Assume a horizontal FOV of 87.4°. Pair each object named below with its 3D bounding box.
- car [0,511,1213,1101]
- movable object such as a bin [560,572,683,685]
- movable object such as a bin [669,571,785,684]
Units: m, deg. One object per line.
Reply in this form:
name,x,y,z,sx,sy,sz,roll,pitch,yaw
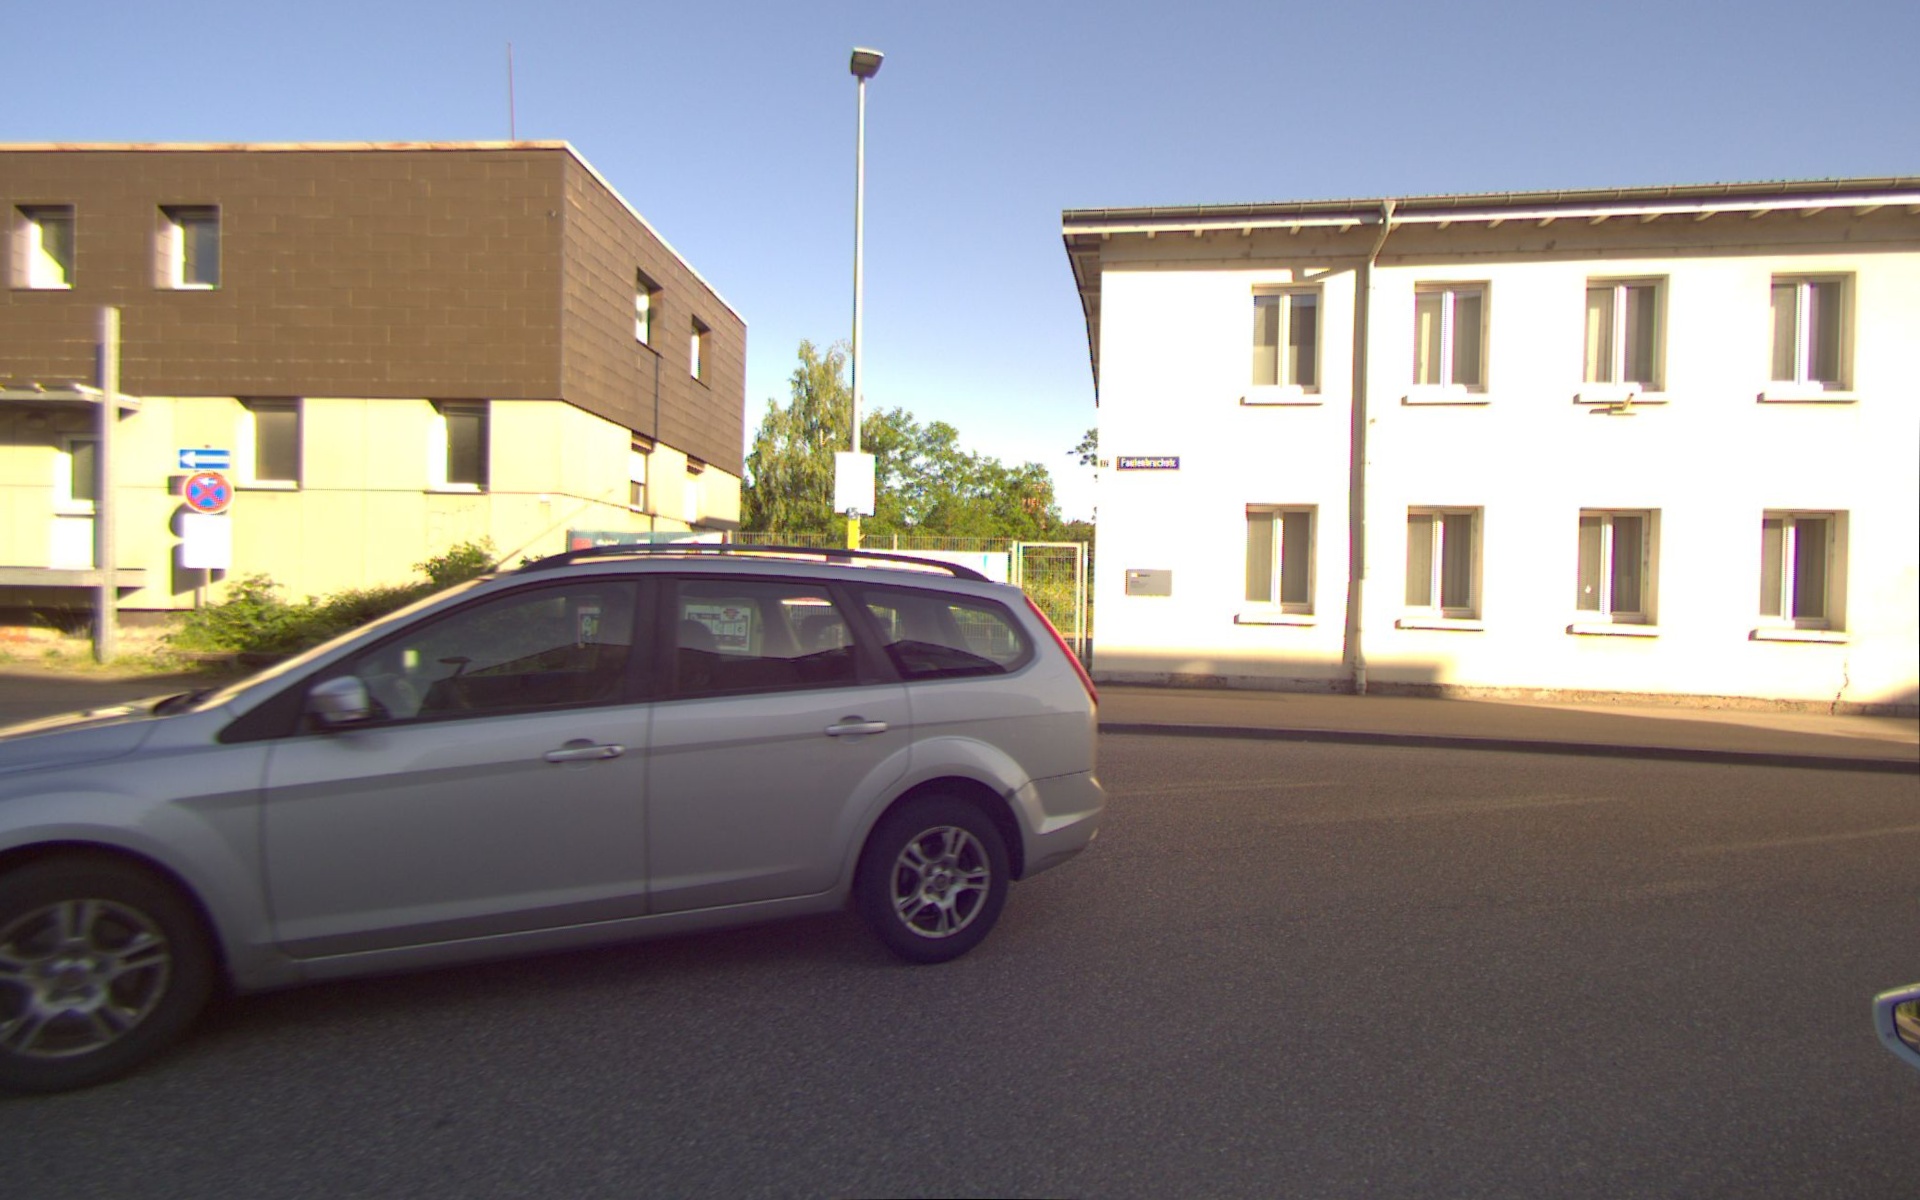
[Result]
car,-1.362,0.556,4.005,4.437,1.525,1.735,1,0,-23
movable object such as a bin,-4.737,0.383,14.178,1.264,1.491,1.364,1,0,-1
movable object such as a bin,-3.262,0.373,14.226,1.346,1.491,1.202,1,0,-1
